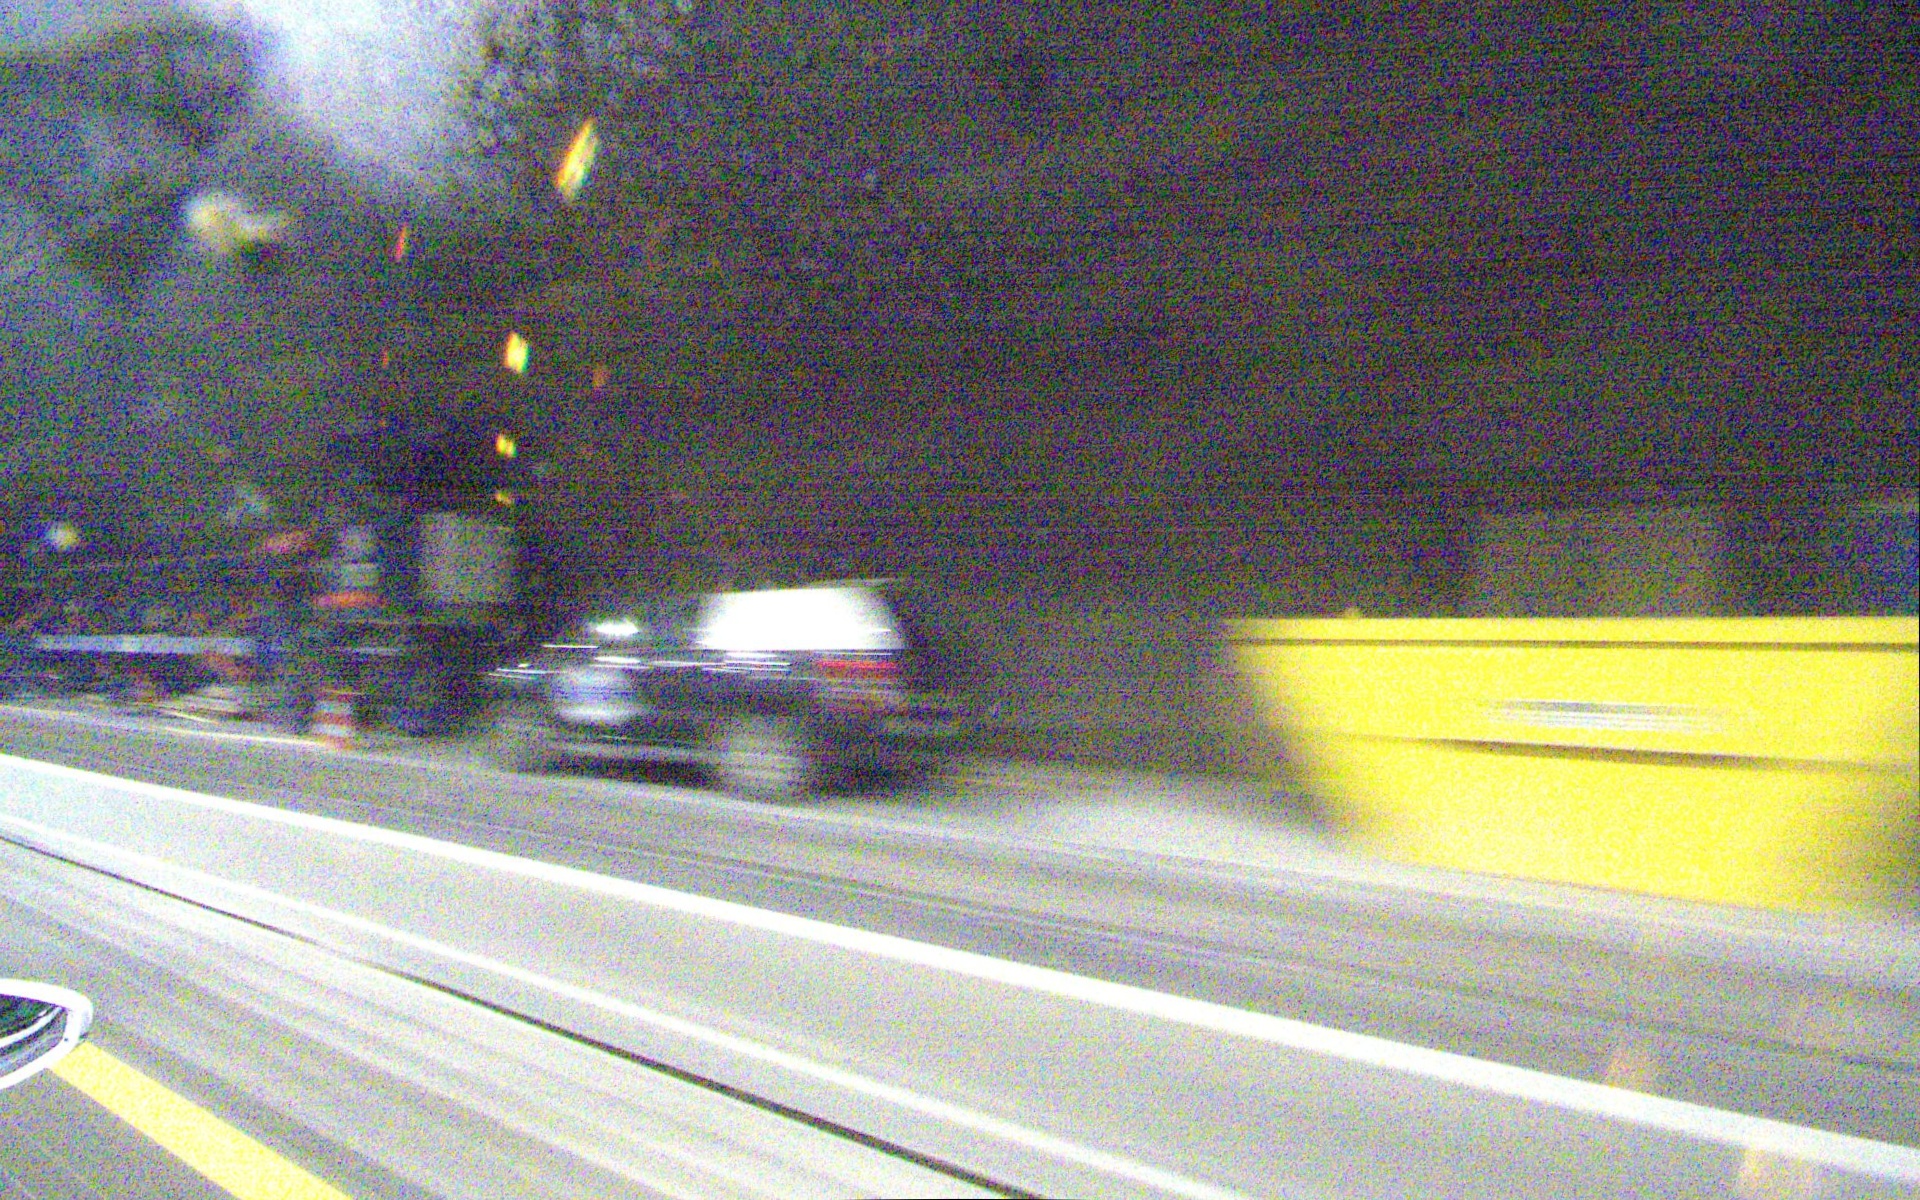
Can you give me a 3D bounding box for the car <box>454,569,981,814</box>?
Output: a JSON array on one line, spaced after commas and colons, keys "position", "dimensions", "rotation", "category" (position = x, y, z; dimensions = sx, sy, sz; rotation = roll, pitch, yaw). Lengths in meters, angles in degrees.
[{"position": [-2.559, 0.748, 9.904], "dimensions": [5.362, 1.882, 1.825], "rotation": [0, -1, 31], "category": "car"}]
